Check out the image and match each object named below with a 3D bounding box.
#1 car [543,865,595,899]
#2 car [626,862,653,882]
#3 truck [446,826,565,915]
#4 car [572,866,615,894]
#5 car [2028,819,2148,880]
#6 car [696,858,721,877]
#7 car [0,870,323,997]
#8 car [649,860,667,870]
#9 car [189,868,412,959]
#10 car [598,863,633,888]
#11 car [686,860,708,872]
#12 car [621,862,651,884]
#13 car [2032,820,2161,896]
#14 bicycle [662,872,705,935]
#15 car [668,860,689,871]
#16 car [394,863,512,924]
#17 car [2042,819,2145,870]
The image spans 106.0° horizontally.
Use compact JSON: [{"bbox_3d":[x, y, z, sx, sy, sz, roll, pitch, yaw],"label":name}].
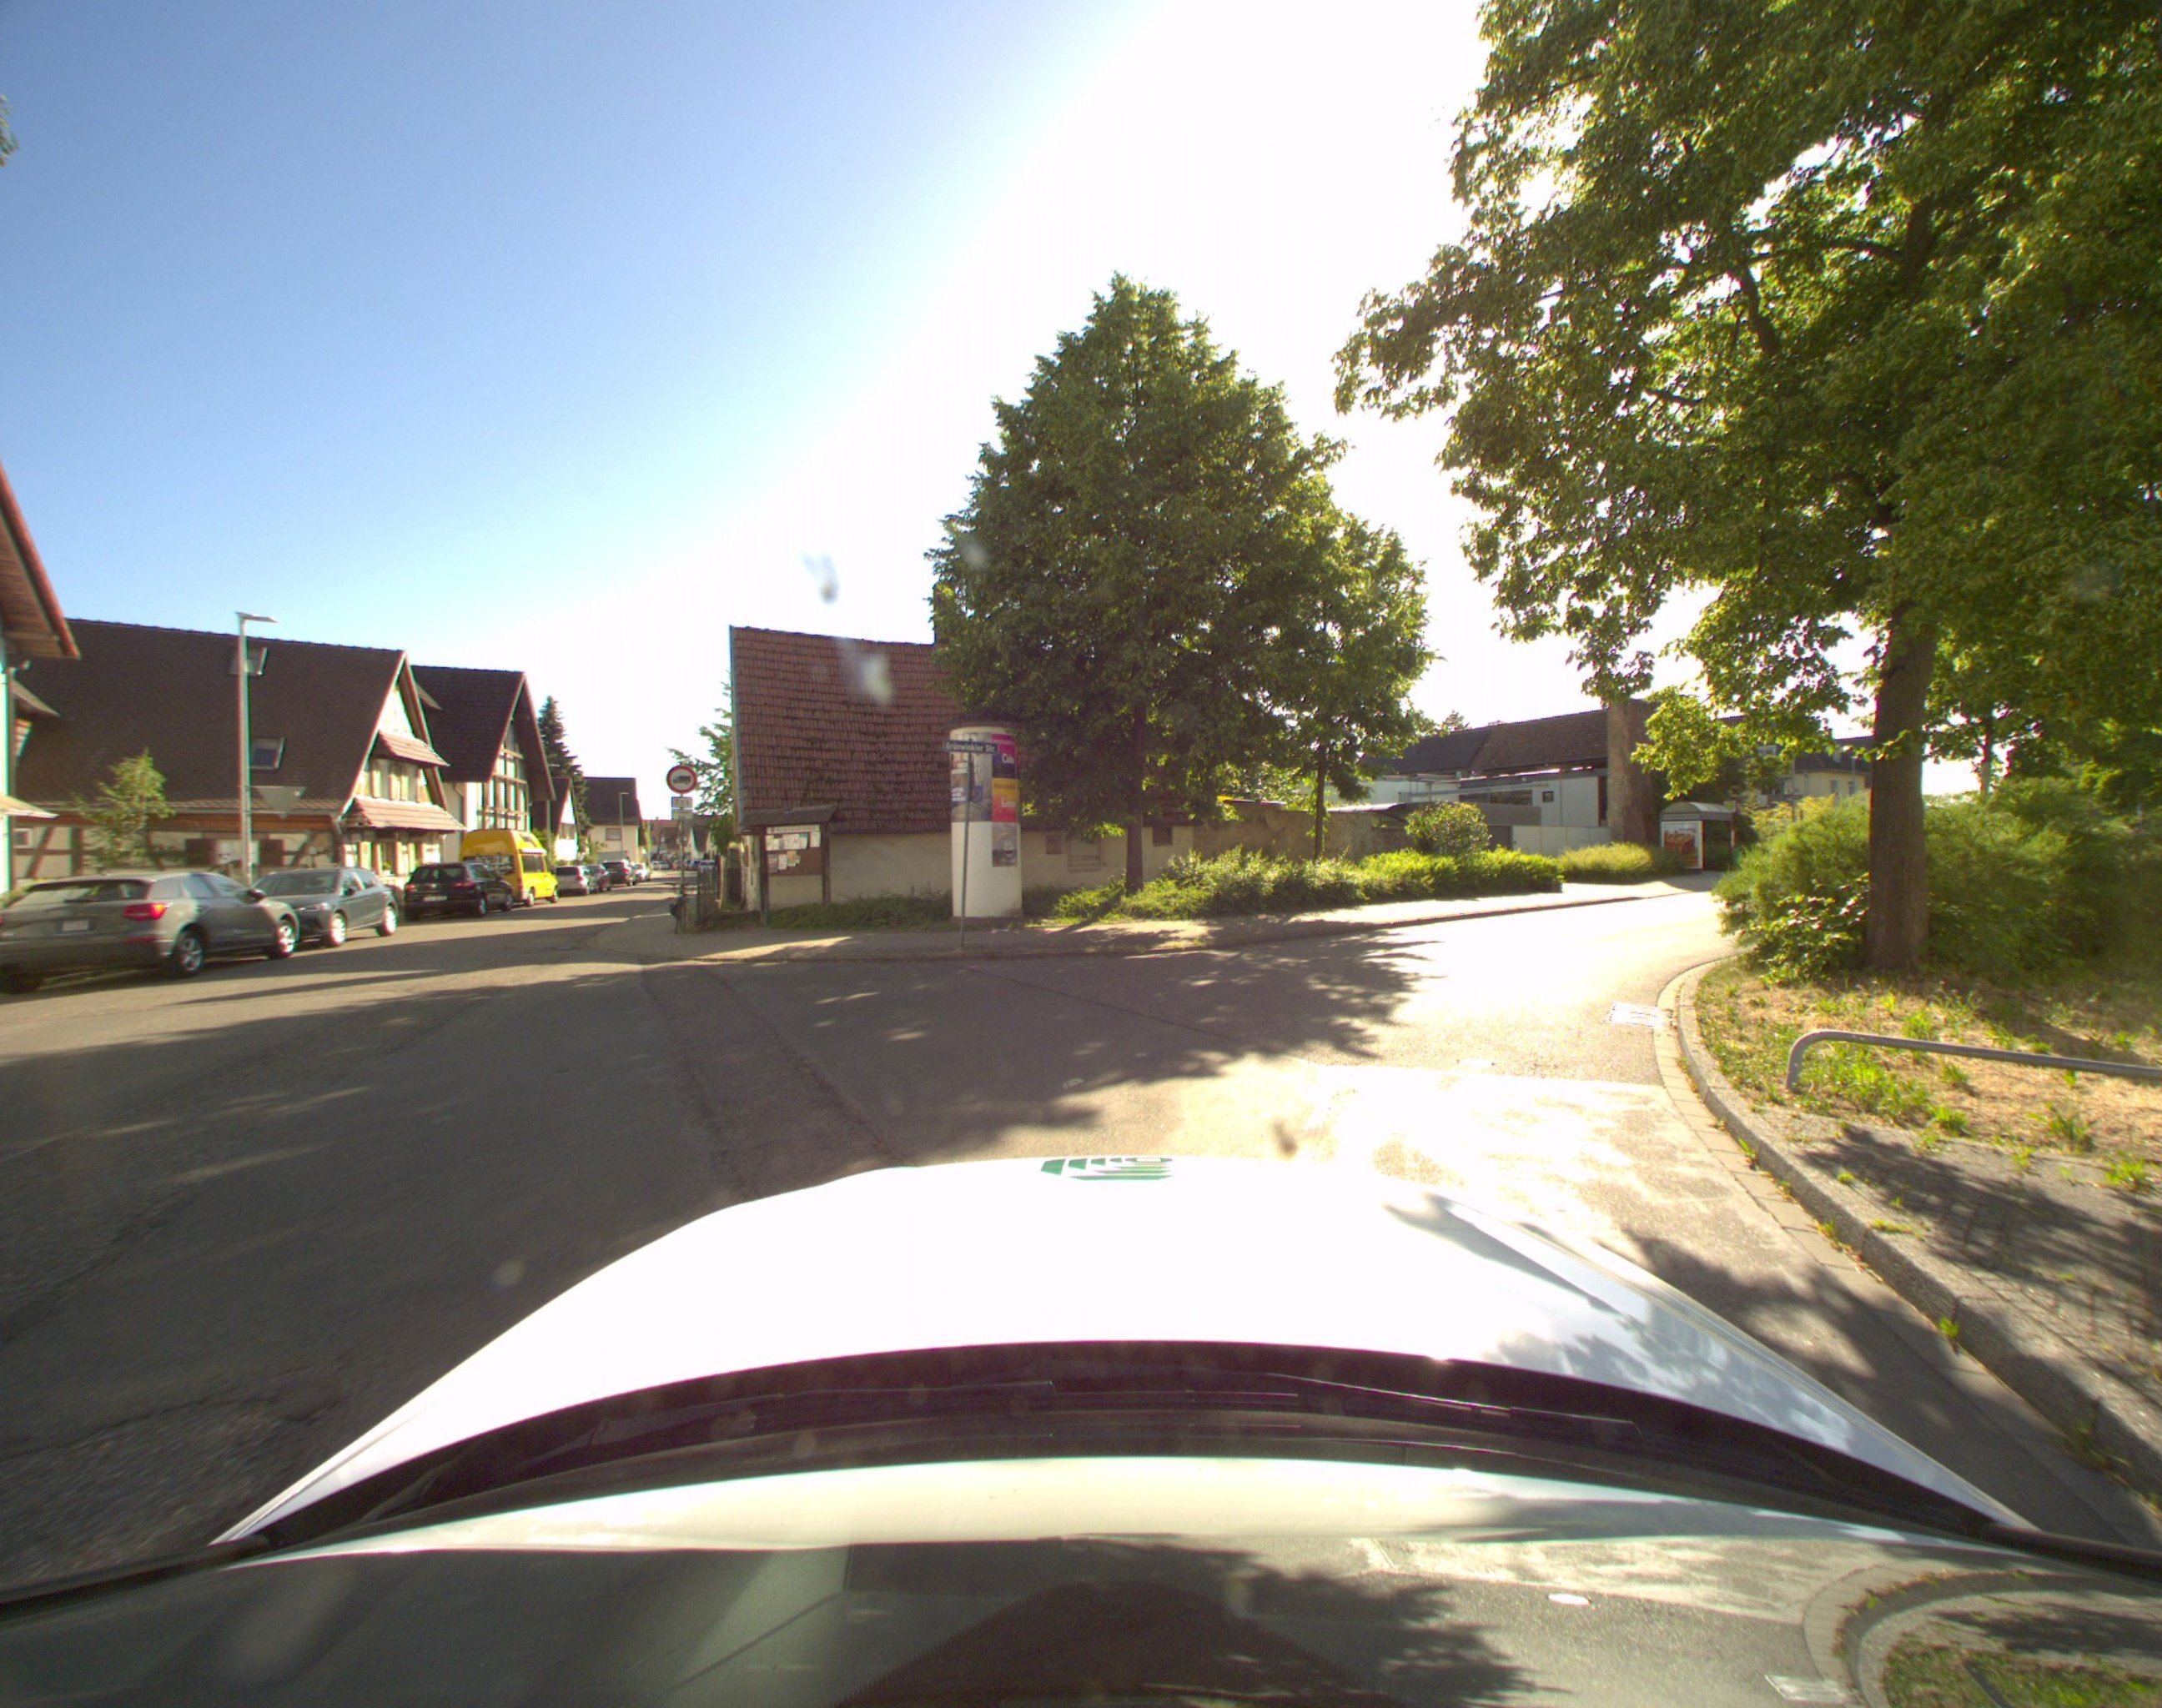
[{"bbox_3d":[-23.769,1.273,37.921,1.654,1.433,3.584,-1,0,-26],"label":"car"},{"bbox_3d":[-33.103,1.336,61.152,1.596,1.443,3.584,-1,0,-26],"label":"car"},{"bbox_3d":[-20.634,0.576,29.529,2.278,2.868,5.738,-1,0,-23],"label":"truck"},{"bbox_3d":[-25.273,1.323,42.291,1.596,1.336,3.584,-1,0,-26],"label":"car"},{"bbox_3d":[30.046,-0.169,24.276,4.016,1.675,1.894,-2,1,-34],"label":"car"},{"bbox_3d":[-34.093,1.221,74.404,1.983,1.714,3.961,-1,0,-26],"label":"car"},{"bbox_3d":[-13.500,1.021,12.157,1.875,1.505,4.076,-1,0,-23],"label":"car"},{"bbox_3d":[-68.991,1.815,132.842,1.989,1.583,3.950,-1,0,-37],"label":"car"},{"bbox_3d":[-15.195,1.053,16.173,1.814,1.505,4.076,-1,0,-23],"label":"car"},{"bbox_3d":[-28.624,1.306,50.121,1.596,1.443,3.584,-1,0,-26],"label":"car"},{"bbox_3d":[-52.967,1.684,112.350,1.989,1.583,3.950,-1,0,-37],"label":"car"},{"bbox_3d":[-31.110,1.317,56.993,1.596,1.443,3.584,-1,0,-26],"label":"car"},{"bbox_3d":[24.786,0.035,19.674,4.016,1.675,1.894,-2,1,-34],"label":"car"},{"bbox_3d":[-8.144,0.989,16.737,0.434,1.176,1.819,-1,0,-15],"label":"bicycle"},{"bbox_3d":[-59.458,1.719,120.312,1.989,1.583,3.950,-1,0,-37],"label":"car"},{"bbox_3d":[-18.626,1.108,24.349,1.814,1.622,3.851,-1,0,-23],"label":"car"},{"bbox_3d":[35.201,-0.361,28.290,4.016,1.675,1.894,-2,1,-34],"label":"car"}]
